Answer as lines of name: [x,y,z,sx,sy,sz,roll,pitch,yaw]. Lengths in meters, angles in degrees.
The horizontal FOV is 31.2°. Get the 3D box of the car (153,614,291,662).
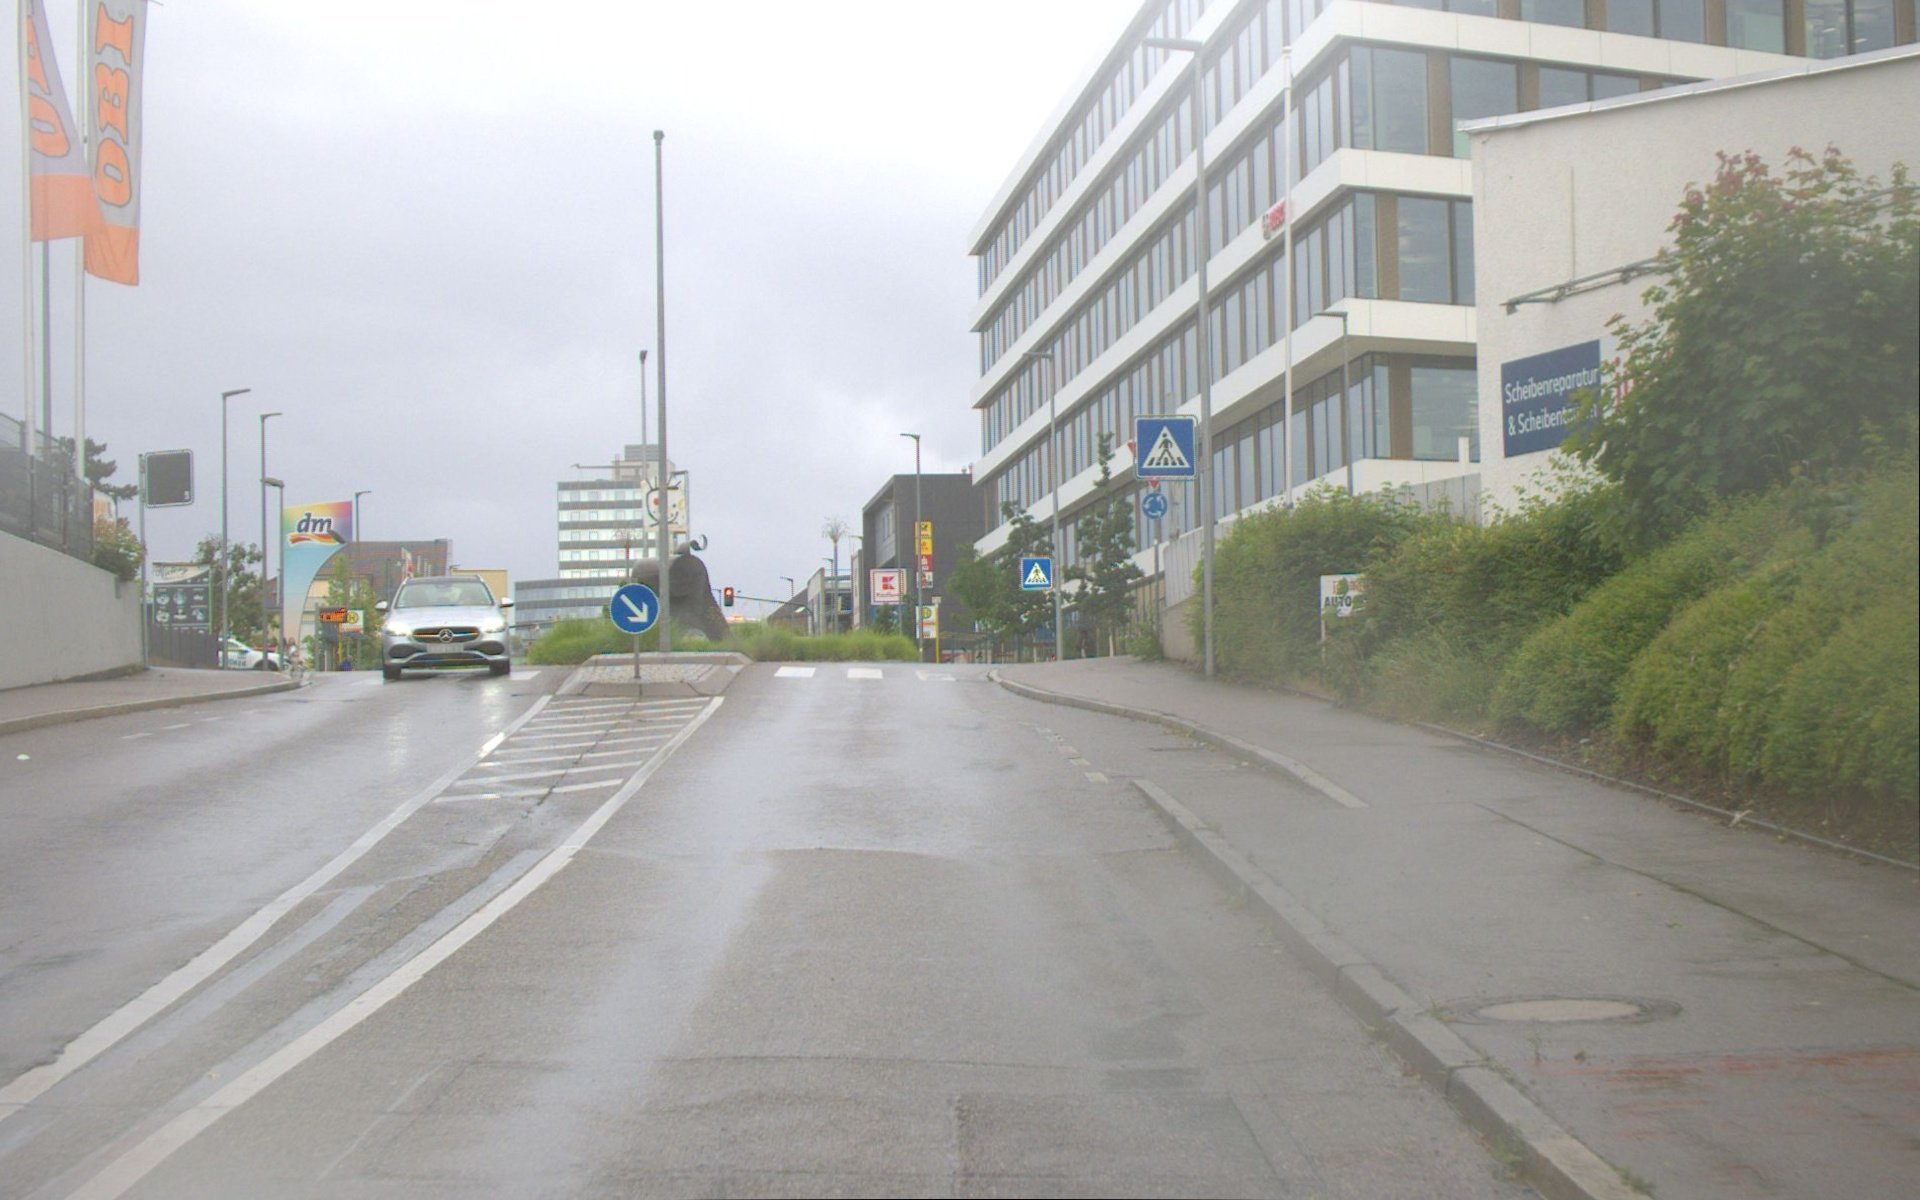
car: [-23.931,1.235,111.552,4.021,1.415,1.768,2,-3,-30]

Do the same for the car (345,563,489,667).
car: [-8.073,0.186,50.861,2.000,1.421,4.782,0,1,-10]
